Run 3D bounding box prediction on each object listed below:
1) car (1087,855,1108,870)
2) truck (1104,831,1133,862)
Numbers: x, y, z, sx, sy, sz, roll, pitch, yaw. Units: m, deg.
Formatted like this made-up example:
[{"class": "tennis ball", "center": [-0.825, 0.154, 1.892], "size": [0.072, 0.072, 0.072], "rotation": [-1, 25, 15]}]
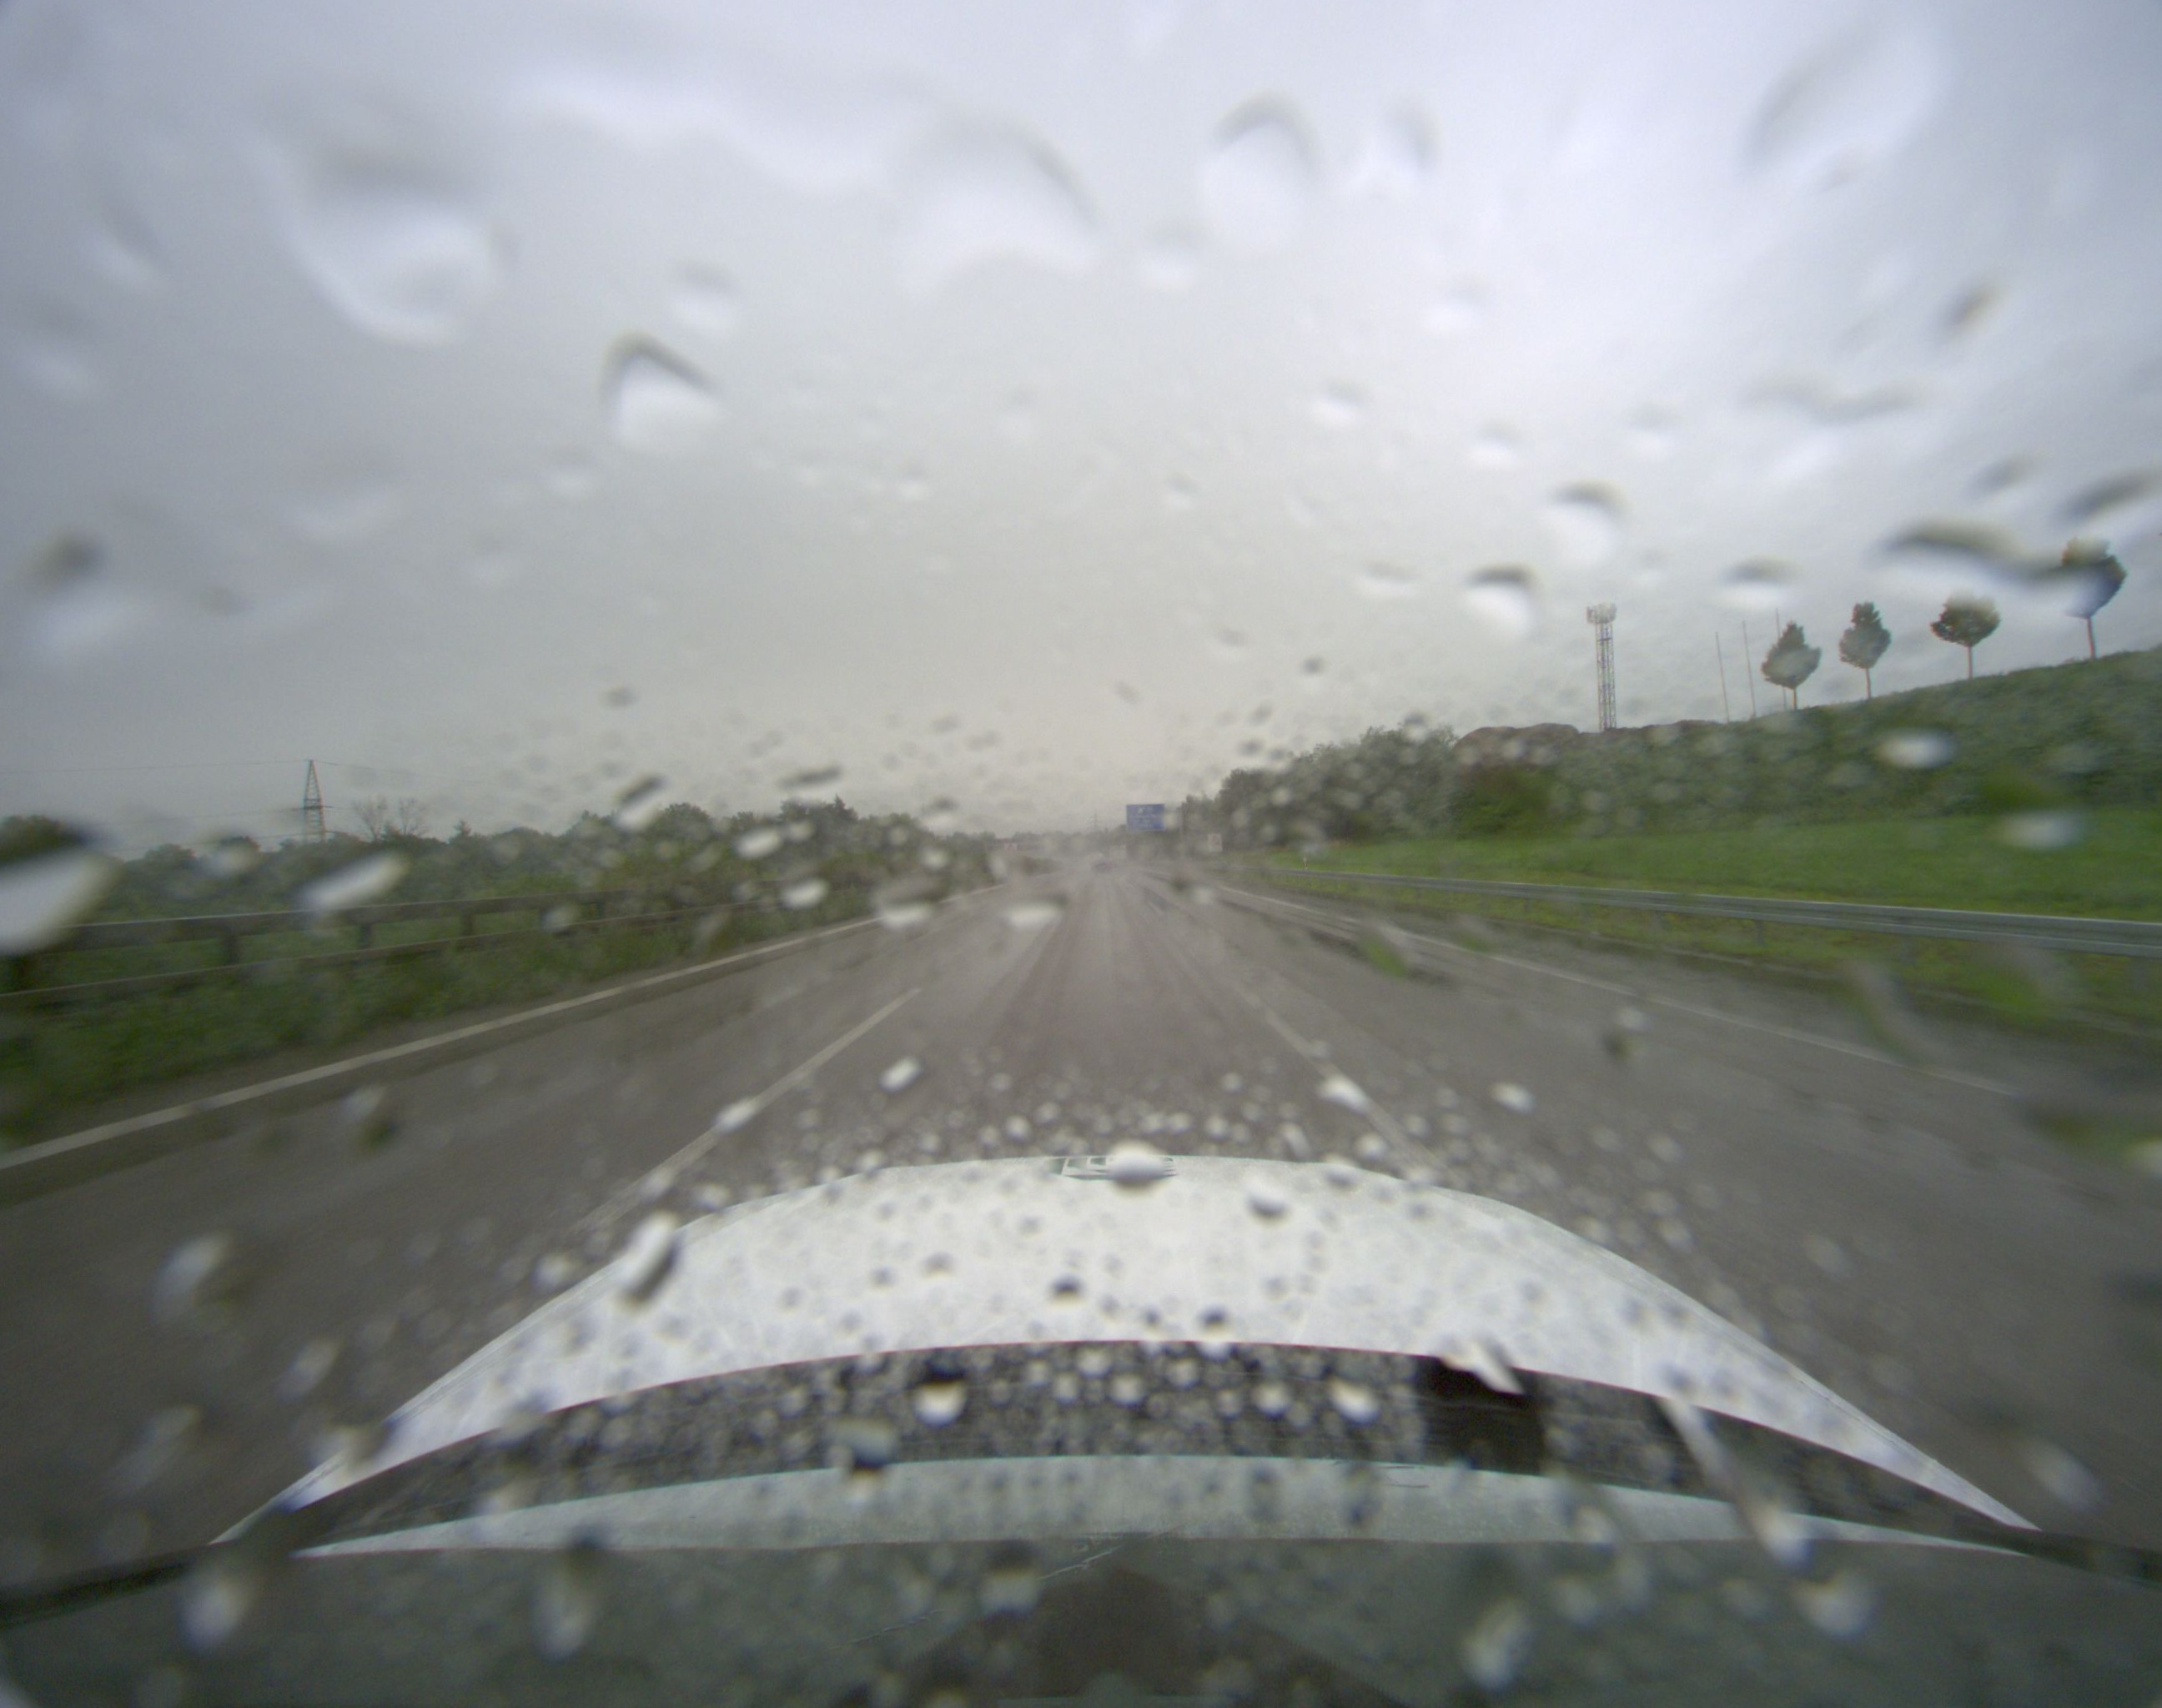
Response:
[{"class": "car", "center": [1.432, 0.726, 71.066], "size": [1.743, 1.212, 4.000], "rotation": [-1, 0, 1]}, {"class": "truck", "center": [6.677, -1.270, 148.628], "size": [4.243, 4.971, 17.336], "rotation": [-4, 0, 0]}]
